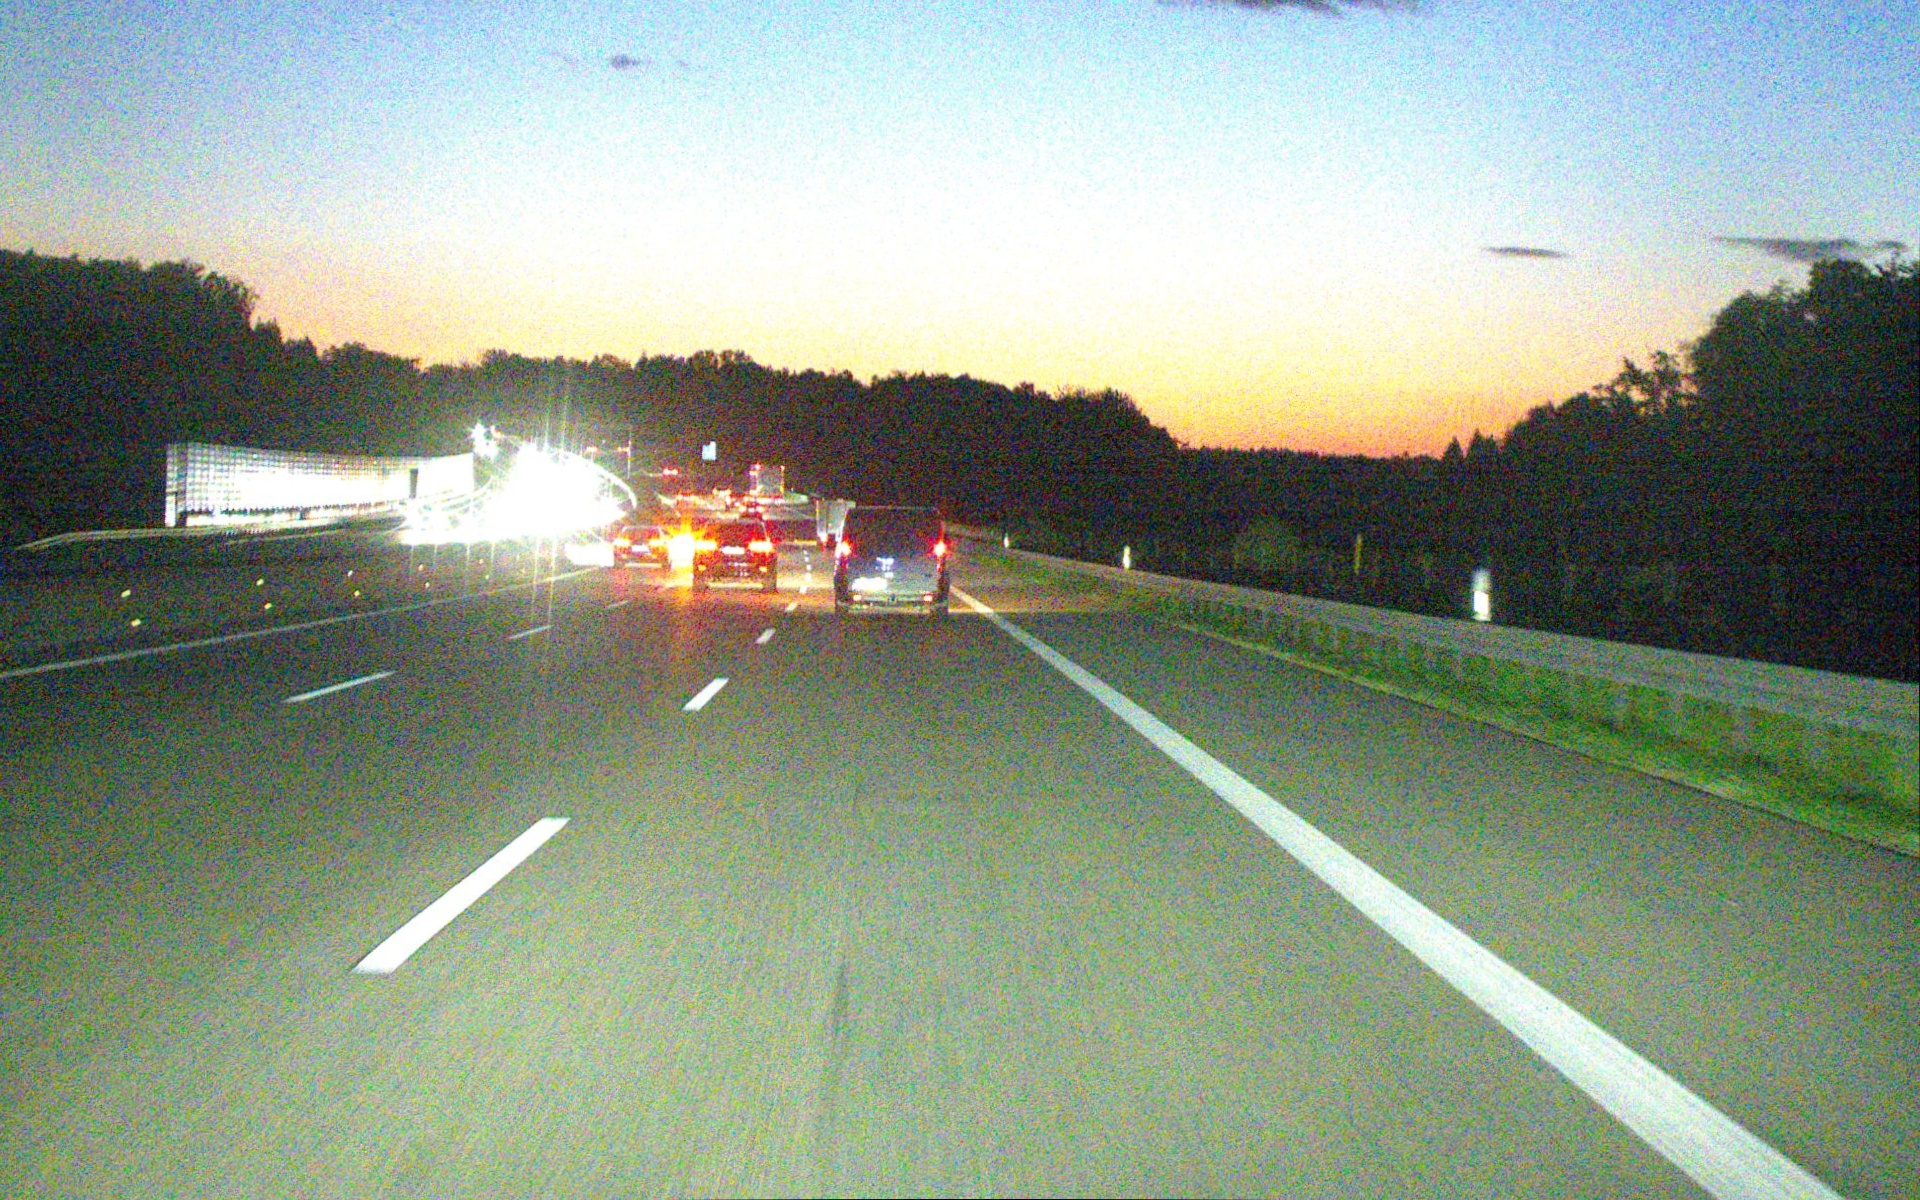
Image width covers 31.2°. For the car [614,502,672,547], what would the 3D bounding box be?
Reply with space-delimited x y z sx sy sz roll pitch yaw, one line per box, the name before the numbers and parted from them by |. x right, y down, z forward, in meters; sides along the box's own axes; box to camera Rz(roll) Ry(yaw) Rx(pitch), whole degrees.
car | -10.617 -2.505 115.398 1.549 1.426 5.515 1 1 -1

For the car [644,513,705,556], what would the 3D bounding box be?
car | -10.596 -2.465 127.783 1.779 1.481 5.254 1 2 0

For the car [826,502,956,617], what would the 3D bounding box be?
car | -1.241 -0.764 60.971 2.196 1.948 4.764 0 2 -2

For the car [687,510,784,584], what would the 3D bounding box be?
car | -5.368 -1.268 82.735 1.993 1.715 5.942 0 1 -1

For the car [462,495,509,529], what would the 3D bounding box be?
car | -26.708 -4.949 193.749 2.104 1.783 4.659 1 1 -2

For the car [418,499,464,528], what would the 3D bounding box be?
car | -31.078 -5.180 206.051 2.104 1.682 5.387 1 1 -2
